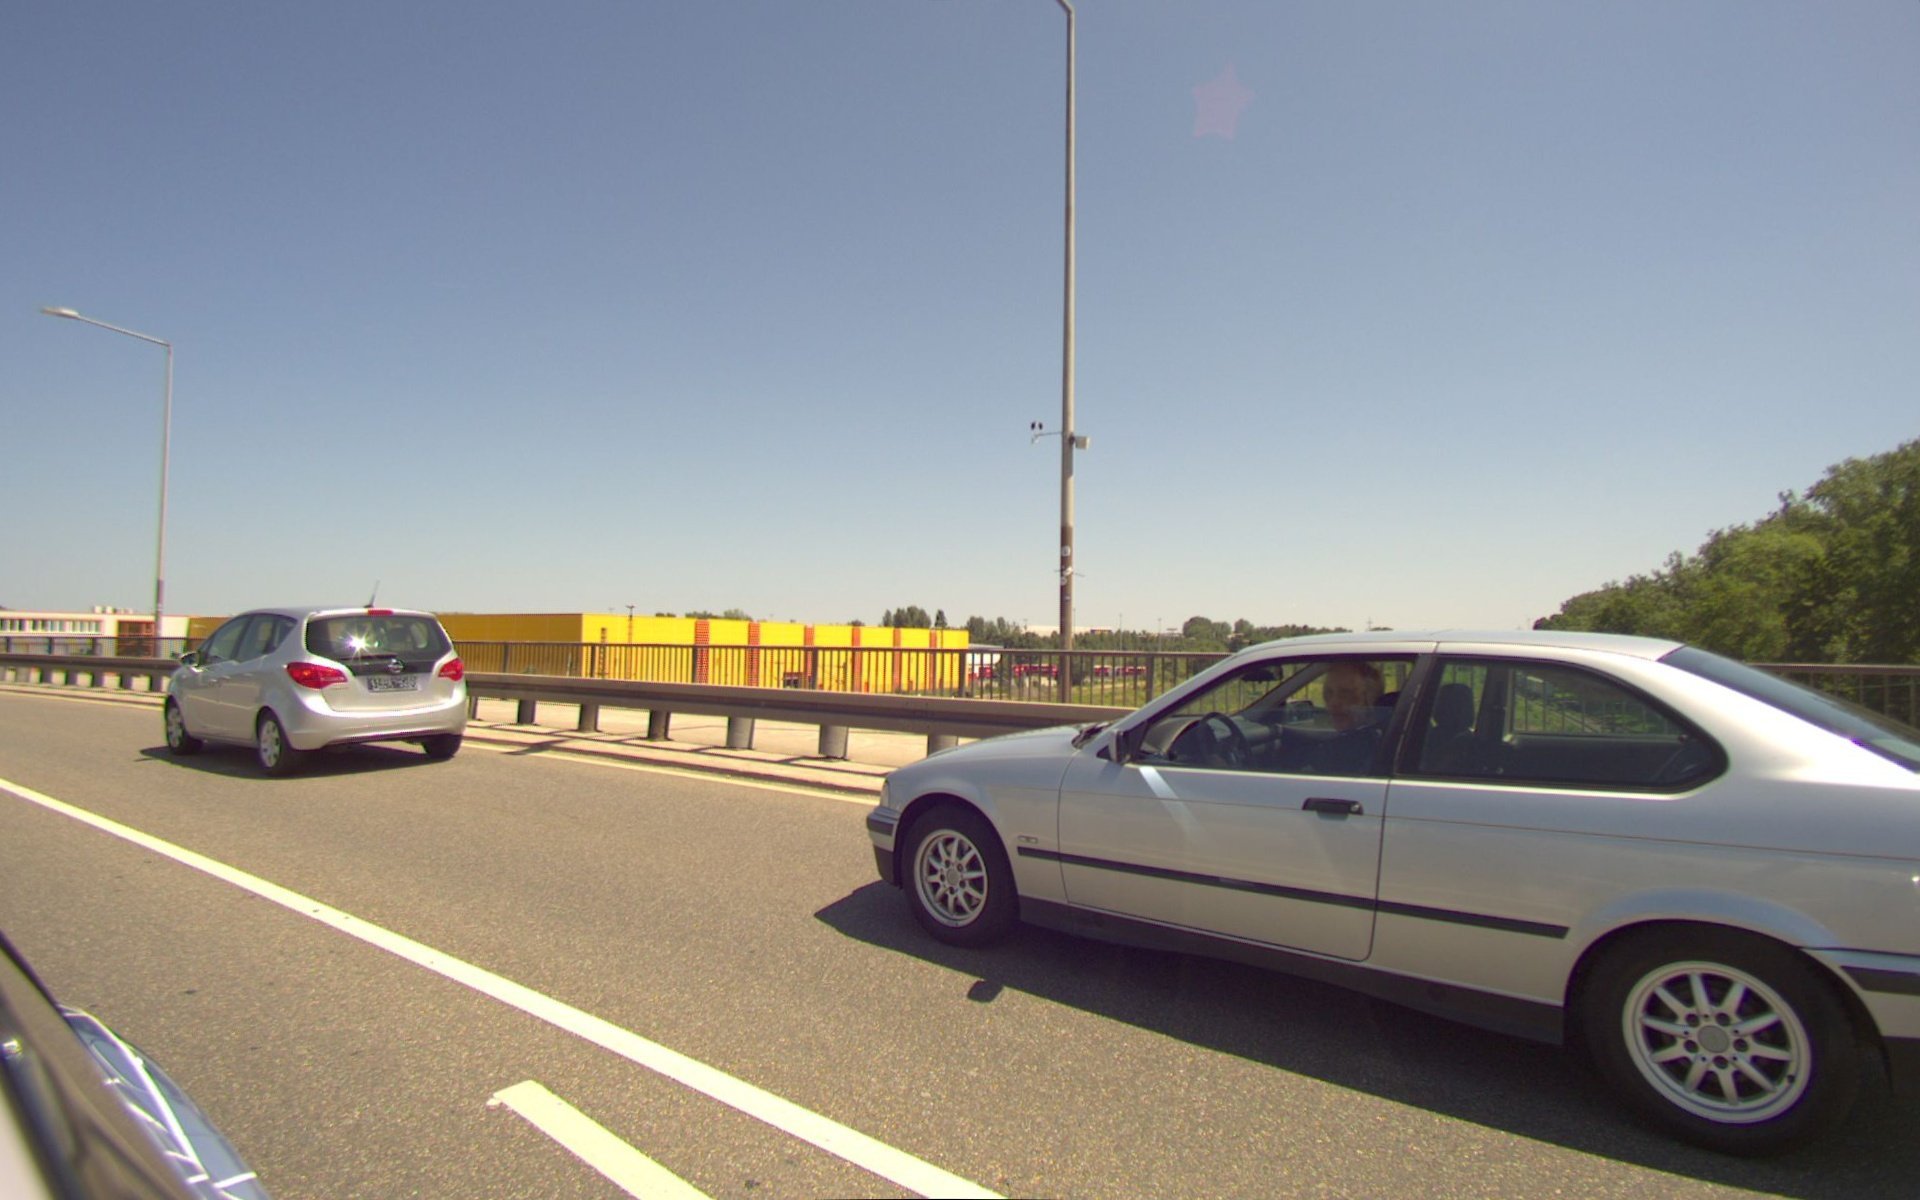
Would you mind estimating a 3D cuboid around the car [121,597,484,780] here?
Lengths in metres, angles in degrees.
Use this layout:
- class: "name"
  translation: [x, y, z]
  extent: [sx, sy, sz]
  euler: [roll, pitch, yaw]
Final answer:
- class: "car"
  translation: [-7.025, 0.819, 10.700]
  extent: [4.165, 1.592, 1.722]
  euler: [-1, -2, 34]

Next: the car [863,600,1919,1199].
- class: "car"
  translation: [1.592, 0.735, 4.012]
  extent: [3.998, 1.386, 1.679]
  euler: [-1, -2, 42]
